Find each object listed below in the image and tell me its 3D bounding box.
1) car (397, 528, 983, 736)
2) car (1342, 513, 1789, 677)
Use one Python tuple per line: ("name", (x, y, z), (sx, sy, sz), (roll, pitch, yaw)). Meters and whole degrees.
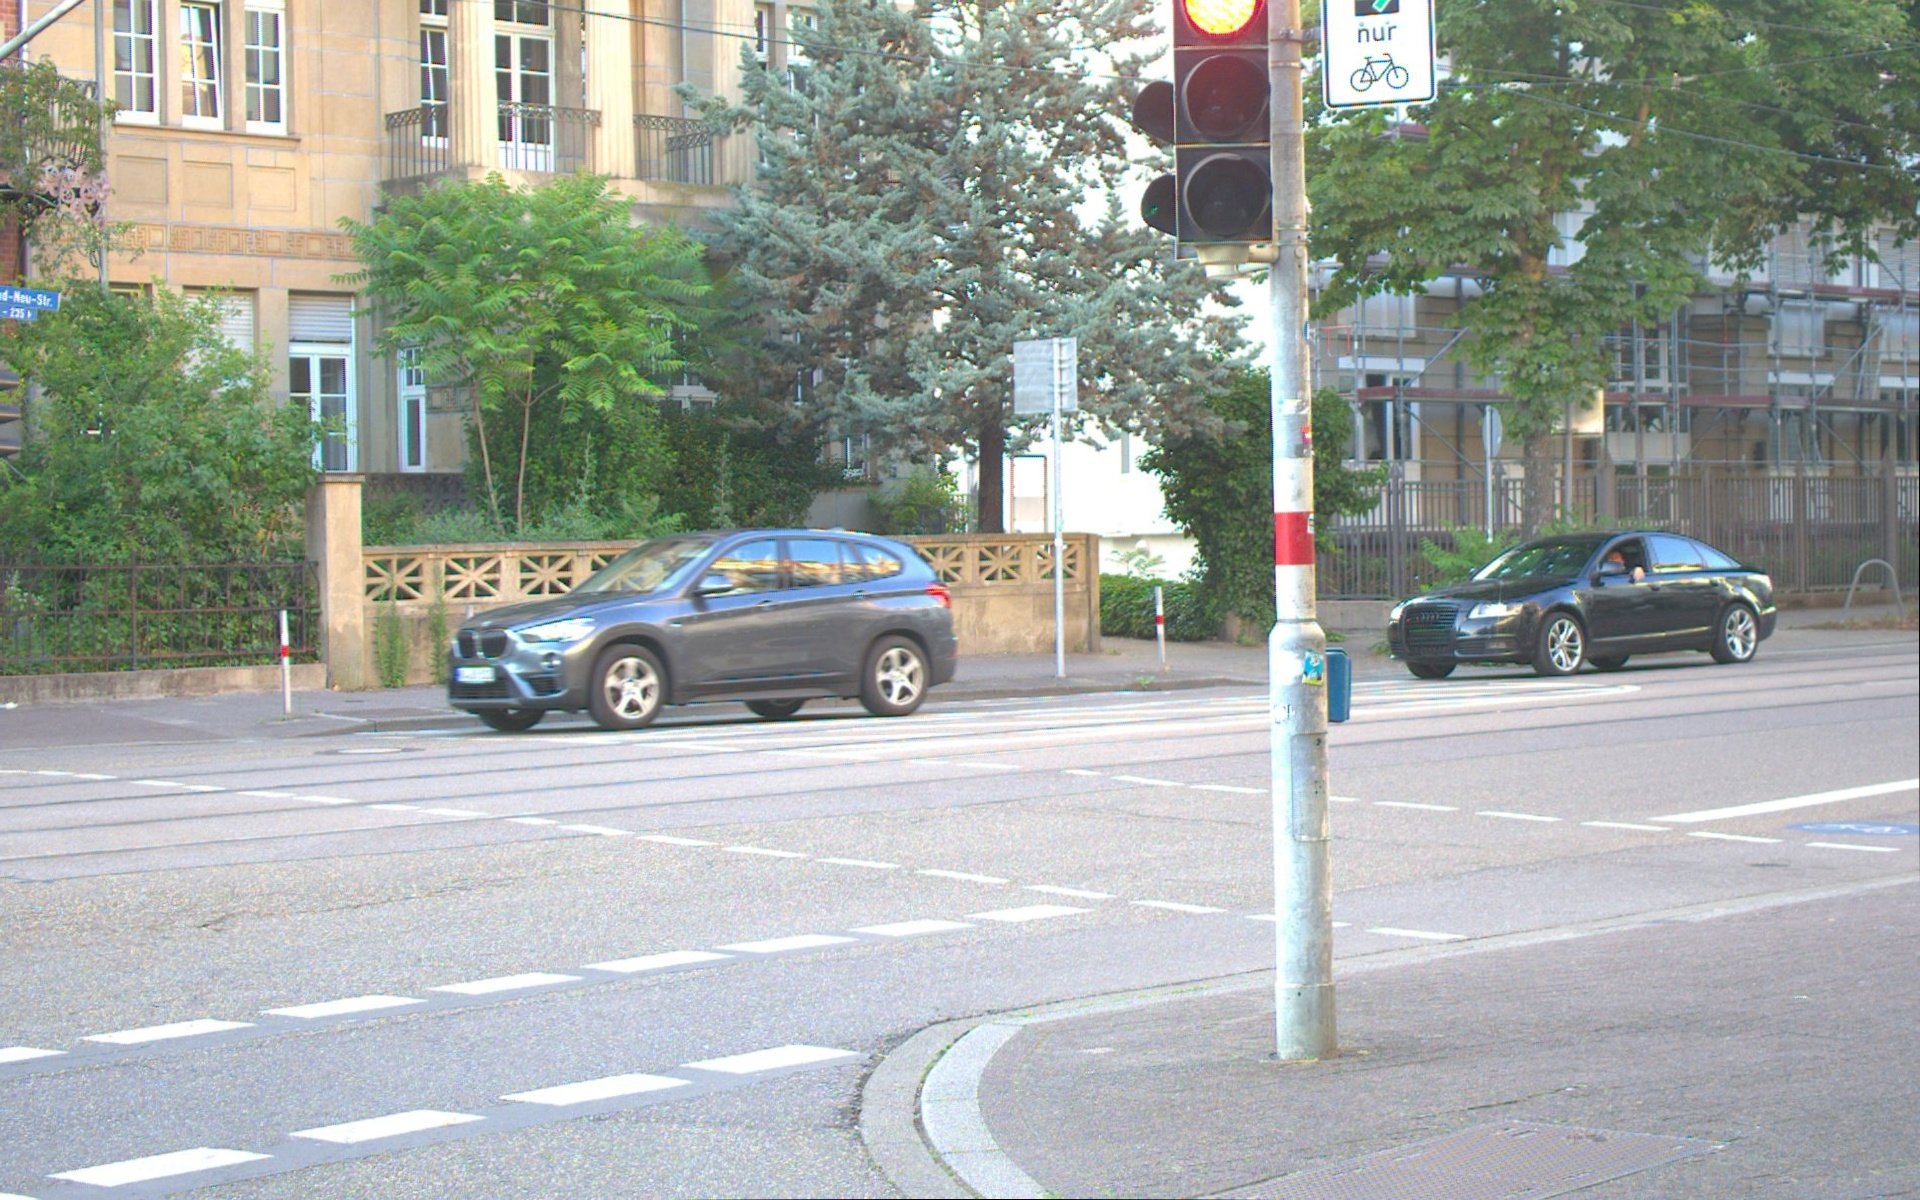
("car", (-2.134, 0.207, 27.907), (4.407, 1.504, 1.950), (-2, 1, -40))
("car", (6.198, -0.088, 34.924), (4.619, 1.504, 1.950), (-2, 1, -40))
